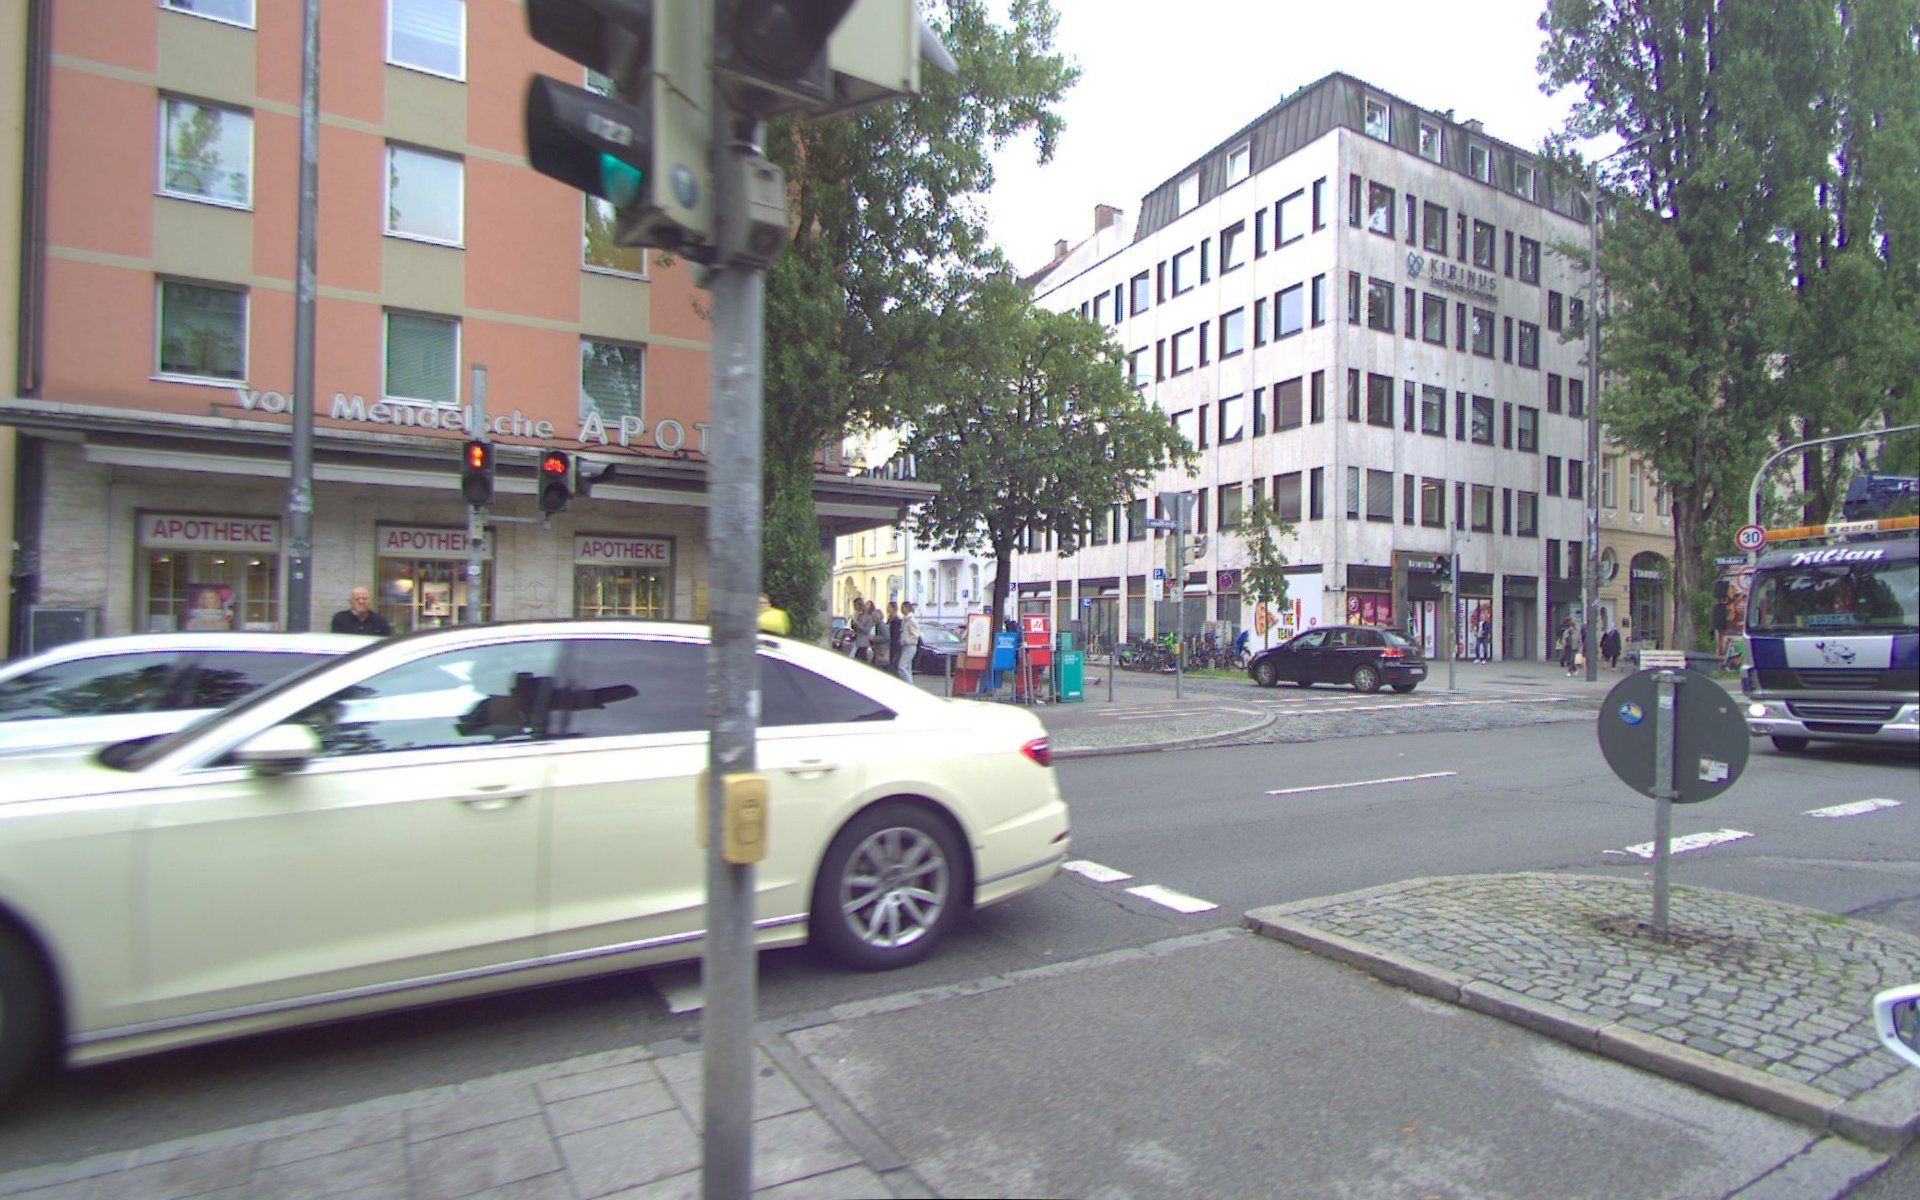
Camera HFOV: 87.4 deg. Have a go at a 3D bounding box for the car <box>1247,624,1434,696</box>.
[{"bbox_3d":[8.628,1.307,23.018,1.756,1.494,3.666,1,-1,-36],"label":"car"}]

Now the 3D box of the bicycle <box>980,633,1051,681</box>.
[{"bbox_3d":[1.450,1.450,25.943,2.044,1.199,0.412,1,-1,-38],"label":"bicycle"}]

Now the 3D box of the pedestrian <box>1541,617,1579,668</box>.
[{"bbox_3d":[21.784,1.544,36.479,0.901,1.811,0.796,1,1,-30],"label":"pedestrian"}]

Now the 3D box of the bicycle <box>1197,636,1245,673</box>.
[{"bbox_3d":[8.776,1.807,33.696,2.014,1.199,0.412,1,-1,-38],"label":"bicycle"}]

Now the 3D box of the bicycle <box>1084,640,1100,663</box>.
[{"bbox_3d":[5.618,2.183,42.827,0.400,0.936,1.797,0,-1,-2],"label":"bicycle"}]

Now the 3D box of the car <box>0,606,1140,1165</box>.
[{"bbox_3d":[-1.699,0.831,4.379,4.929,1.521,1.835,1,-2,-31],"label":"car"}]

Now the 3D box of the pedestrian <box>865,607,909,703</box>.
[{"bbox_3d":[-1.318,0.976,18.075,0.618,1.692,0.505,1,-1,-29],"label":"pedestrian"}]

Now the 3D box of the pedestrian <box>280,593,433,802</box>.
[{"bbox_3d":[-5.494,0.862,9.205,0.975,1.819,0.736,1,0,-12],"label":"pedestrian"}]

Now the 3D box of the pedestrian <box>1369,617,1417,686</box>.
[{"bbox_3d":[11.396,1.345,26.467,0.931,1.763,0.723,1,0,-31],"label":"pedestrian"}]

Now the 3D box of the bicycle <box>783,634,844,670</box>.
[{"bbox_3d":[-5.093,1.794,34.974,2.044,1.199,0.682,1,-1,-37],"label":"bicycle"}]

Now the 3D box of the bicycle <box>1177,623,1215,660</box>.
[{"bbox_3d":[8.076,1.407,34.332,0.410,1.199,1.999,0,-1,40],"label":"bicycle"}]

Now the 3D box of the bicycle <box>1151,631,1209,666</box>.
[{"bbox_3d":[7.737,1.697,35.276,2.028,1.200,0.415,1,-1,-15],"label":"bicycle"}]

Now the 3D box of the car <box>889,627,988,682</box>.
[{"bbox_3d":[-0.724,1.615,30.597,1.755,1.439,3.980,2,0,-21],"label":"car"}]

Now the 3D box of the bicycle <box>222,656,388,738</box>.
[{"bbox_3d":[-8.190,1.207,12.588,1.777,0.999,0.330,1,-1,-5],"label":"bicycle"}]

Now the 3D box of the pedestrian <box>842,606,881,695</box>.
[{"bbox_3d":[-1.946,0.980,19.812,0.513,1.711,0.627,1,0,-29],"label":"pedestrian"}]

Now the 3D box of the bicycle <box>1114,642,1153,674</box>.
[{"bbox_3d":[6.192,2.062,35.963,0.410,1.061,2.054,1,-1,-19],"label":"bicycle"}]

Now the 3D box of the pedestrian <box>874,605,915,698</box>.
[{"bbox_3d":[-1.259,0.980,19.352,0.541,1.751,0.654,1,-1,-29],"label":"pedestrian"}]

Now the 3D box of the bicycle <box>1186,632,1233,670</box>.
[{"bbox_3d":[7.963,1.609,32.008,1.836,1.200,0.412,1,-1,-38],"label":"bicycle"}]

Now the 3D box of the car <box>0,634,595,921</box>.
[{"bbox_3d":[-4.775,0.923,6.081,4.579,1.426,1.814,1,-2,-31],"label":"car"}]

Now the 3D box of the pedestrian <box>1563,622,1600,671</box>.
[{"bbox_3d":[22.130,1.637,35.760,0.966,1.704,0.728,1,1,-31],"label":"pedestrian"}]

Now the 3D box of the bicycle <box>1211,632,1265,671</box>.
[{"bbox_3d":[9.680,1.780,35.065,0.550,1.266,2.125,1,-1,-26],"label":"bicycle"}]

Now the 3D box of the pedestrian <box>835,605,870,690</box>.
[{"bbox_3d":[-2.199,0.957,20.553,0.508,1.713,0.583,1,-1,-30],"label":"pedestrian"}]

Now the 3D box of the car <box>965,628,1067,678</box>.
[{"bbox_3d":[1.694,1.616,31.736,1.755,1.439,3.980,1,-1,-21],"label":"car"}]

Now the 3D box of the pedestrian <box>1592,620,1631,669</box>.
[{"bbox_3d":[21.801,1.476,33.594,0.978,1.588,0.747,1,-1,-31],"label":"pedestrian"}]

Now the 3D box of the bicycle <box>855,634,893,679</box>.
[{"bbox_3d":[-2.571,1.667,29.907,0.530,1.200,2.052,1,0,-22],"label":"bicycle"}]

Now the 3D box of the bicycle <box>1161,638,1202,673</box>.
[{"bbox_3d":[7.965,1.992,36.076,0.444,1.199,2.051,0,-1,43],"label":"bicycle"}]

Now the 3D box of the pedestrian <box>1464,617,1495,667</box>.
[{"bbox_3d":[18.779,1.511,36.309,0.810,1.811,0.696,1,-1,-29],"label":"pedestrian"}]

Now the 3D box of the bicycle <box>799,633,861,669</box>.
[{"bbox_3d":[-4.459,1.738,34.536,2.044,1.199,0.682,1,-1,-37],"label":"bicycle"}]

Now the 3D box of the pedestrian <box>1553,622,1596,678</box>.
[{"bbox_3d":[18.514,1.485,30.261,0.924,1.640,0.774,1,-1,-31],"label":"pedestrian"}]

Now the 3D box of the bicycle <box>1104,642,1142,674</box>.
[{"bbox_3d":[5.779,2.050,35.791,0.410,1.061,2.054,1,-1,-19],"label":"bicycle"}]

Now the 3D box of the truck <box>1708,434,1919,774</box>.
[{"bbox_3d":[13.694,0.125,13.852,8.342,3.719,2.451,1,-1,-31],"label":"truck"}]

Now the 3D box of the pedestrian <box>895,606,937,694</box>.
[{"bbox_3d":[-0.829,0.924,18.730,0.541,1.604,0.654,1,-1,-29],"label":"pedestrian"}]
